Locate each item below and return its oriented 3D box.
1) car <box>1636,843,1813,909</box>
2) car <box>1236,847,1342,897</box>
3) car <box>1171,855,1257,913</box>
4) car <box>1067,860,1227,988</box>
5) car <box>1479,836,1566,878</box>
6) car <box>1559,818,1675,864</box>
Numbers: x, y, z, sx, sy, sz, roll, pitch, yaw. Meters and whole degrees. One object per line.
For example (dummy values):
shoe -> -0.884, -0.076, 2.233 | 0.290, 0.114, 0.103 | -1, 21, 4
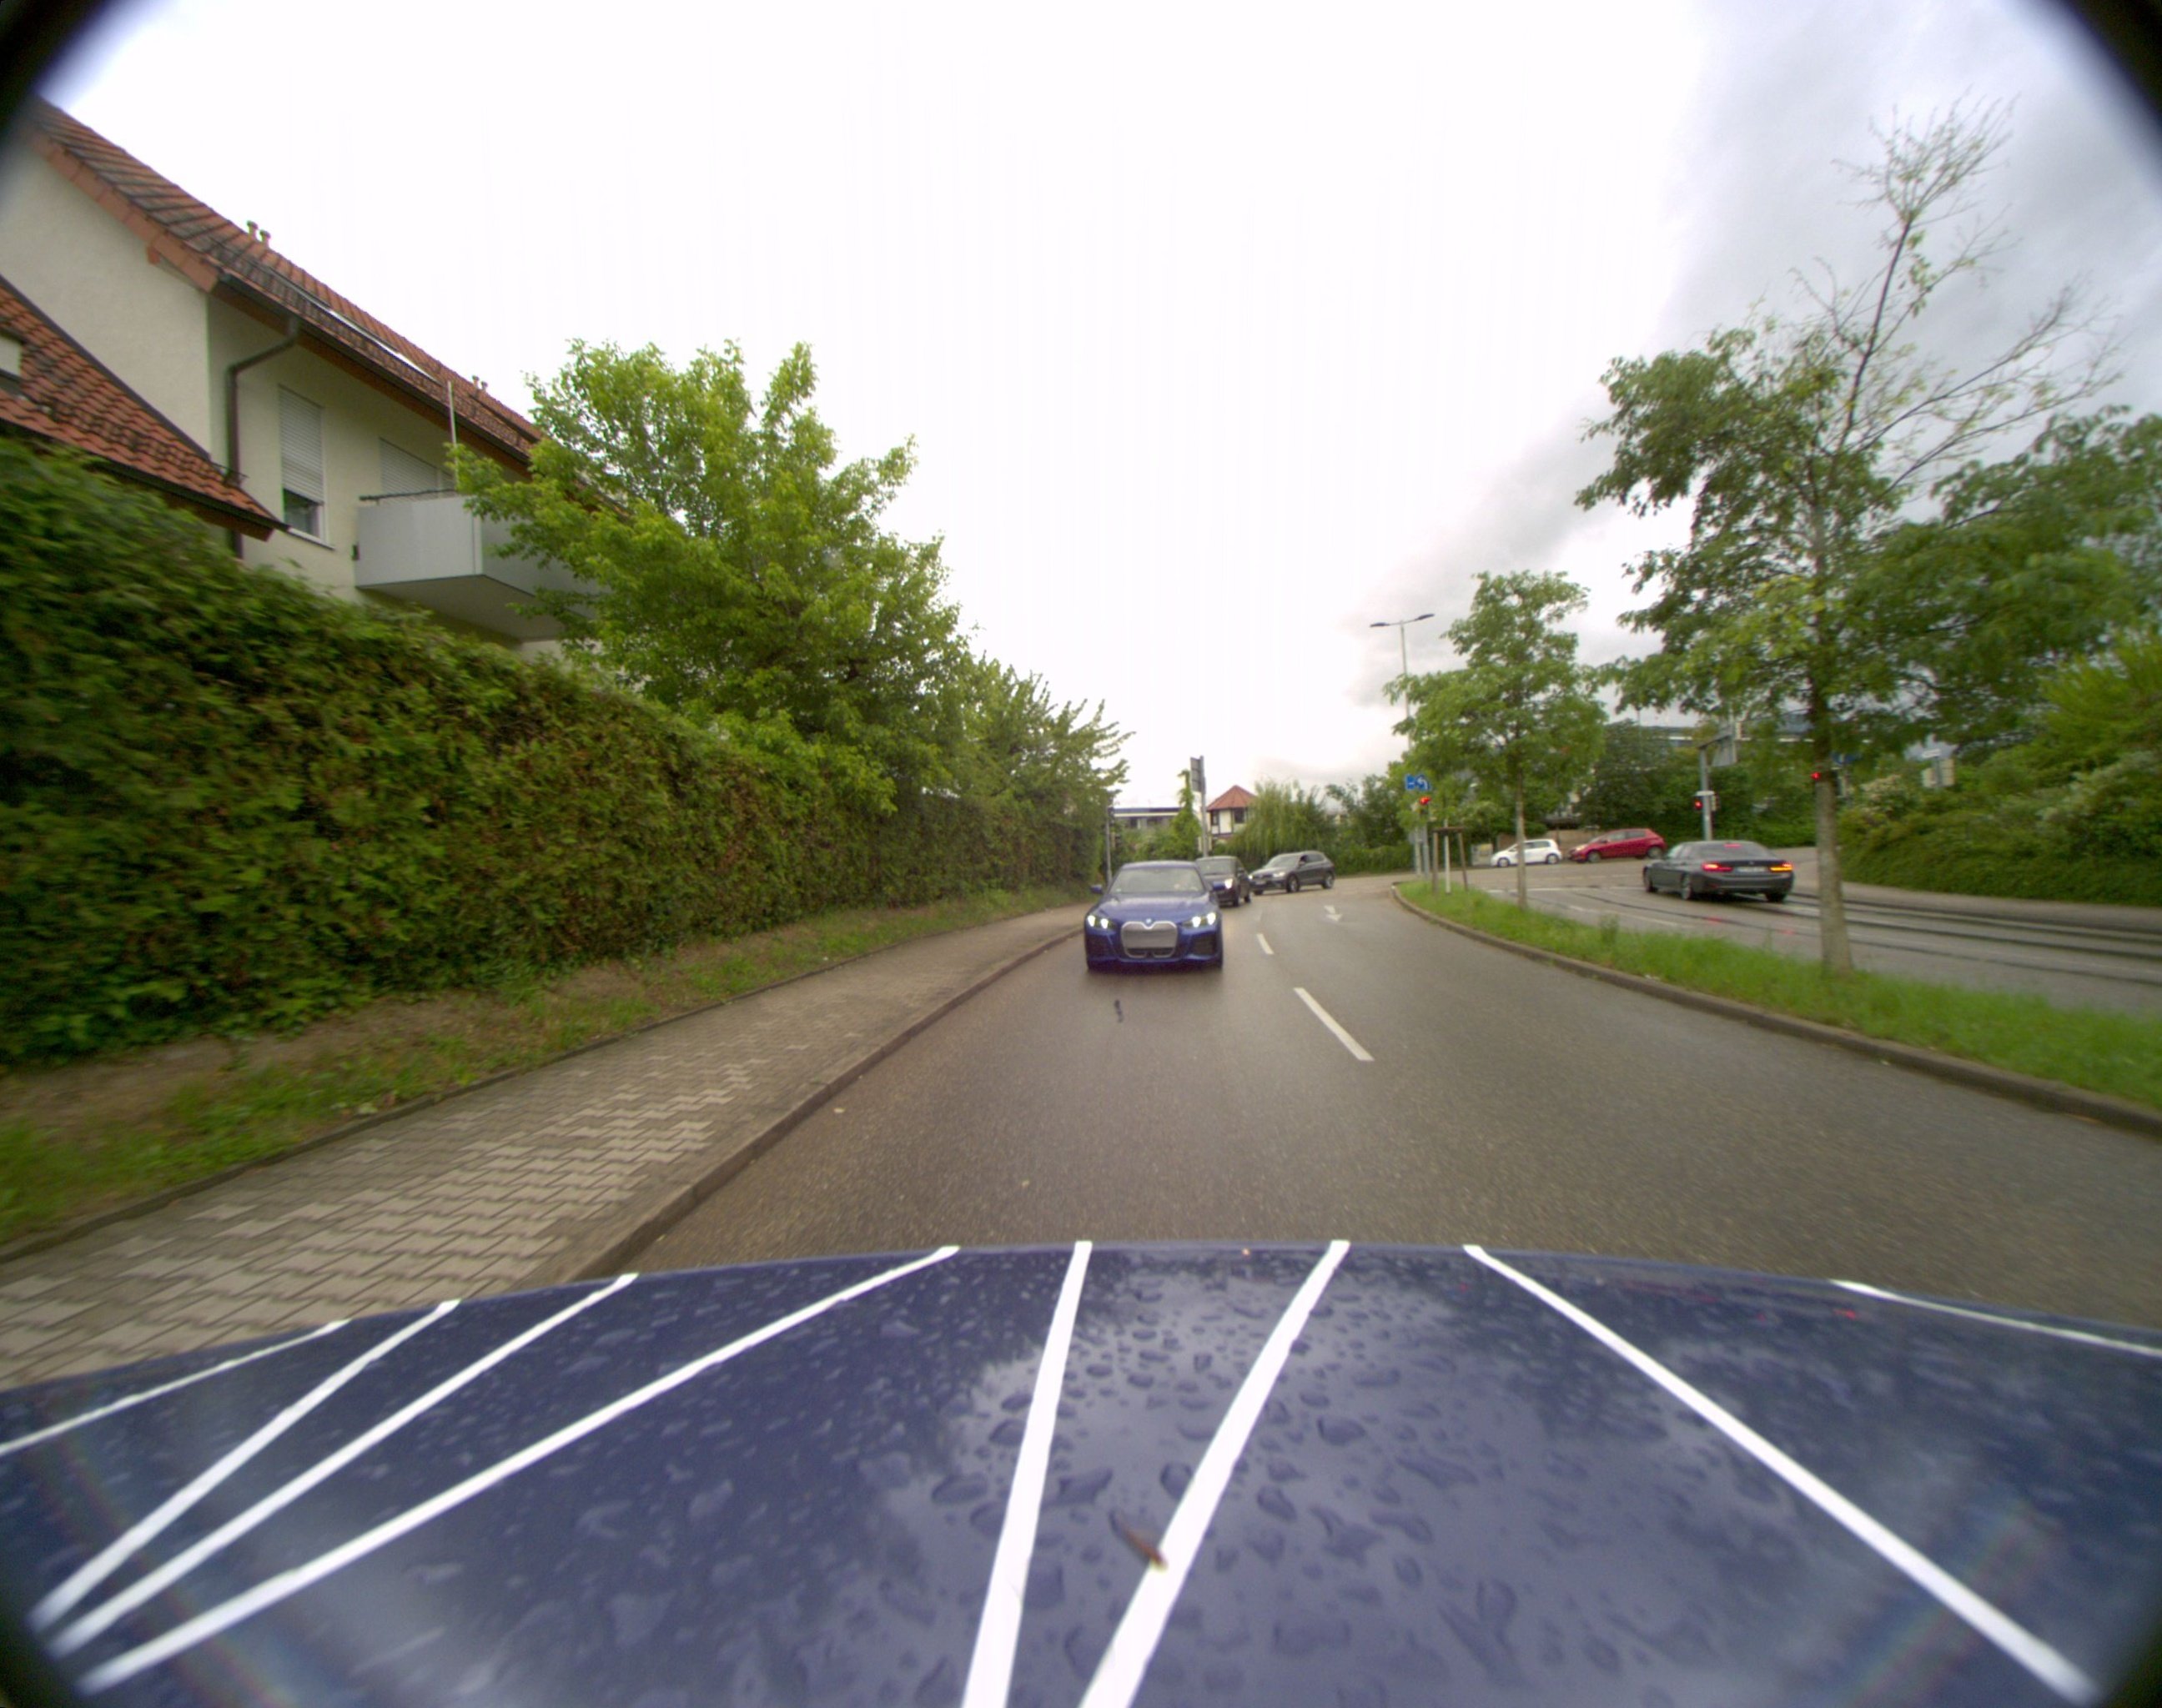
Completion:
car -> 15.779, 0.519, 18.971 | 1.995, 1.429, 4.555 | -2, -1, 22
car -> 8.708, 0.724, 31.694 | 4.315, 1.739, 1.965 | -3, -3, -39
car -> 4.131, 0.865, 23.128 | 1.744, 1.509, 4.006 | -6, -2, 20
car -> 1.212, 0.906, 11.610 | 1.912, 1.487, 4.352 | -3, 0, 11
car -> 25.266, 0.199, 43.656 | 3.991, 2.001, 2.003 | -6, -2, 24
car -> 25.429, -0.577, 36.207 | 3.992, 1.715, 1.872 | -5, -2, 18
